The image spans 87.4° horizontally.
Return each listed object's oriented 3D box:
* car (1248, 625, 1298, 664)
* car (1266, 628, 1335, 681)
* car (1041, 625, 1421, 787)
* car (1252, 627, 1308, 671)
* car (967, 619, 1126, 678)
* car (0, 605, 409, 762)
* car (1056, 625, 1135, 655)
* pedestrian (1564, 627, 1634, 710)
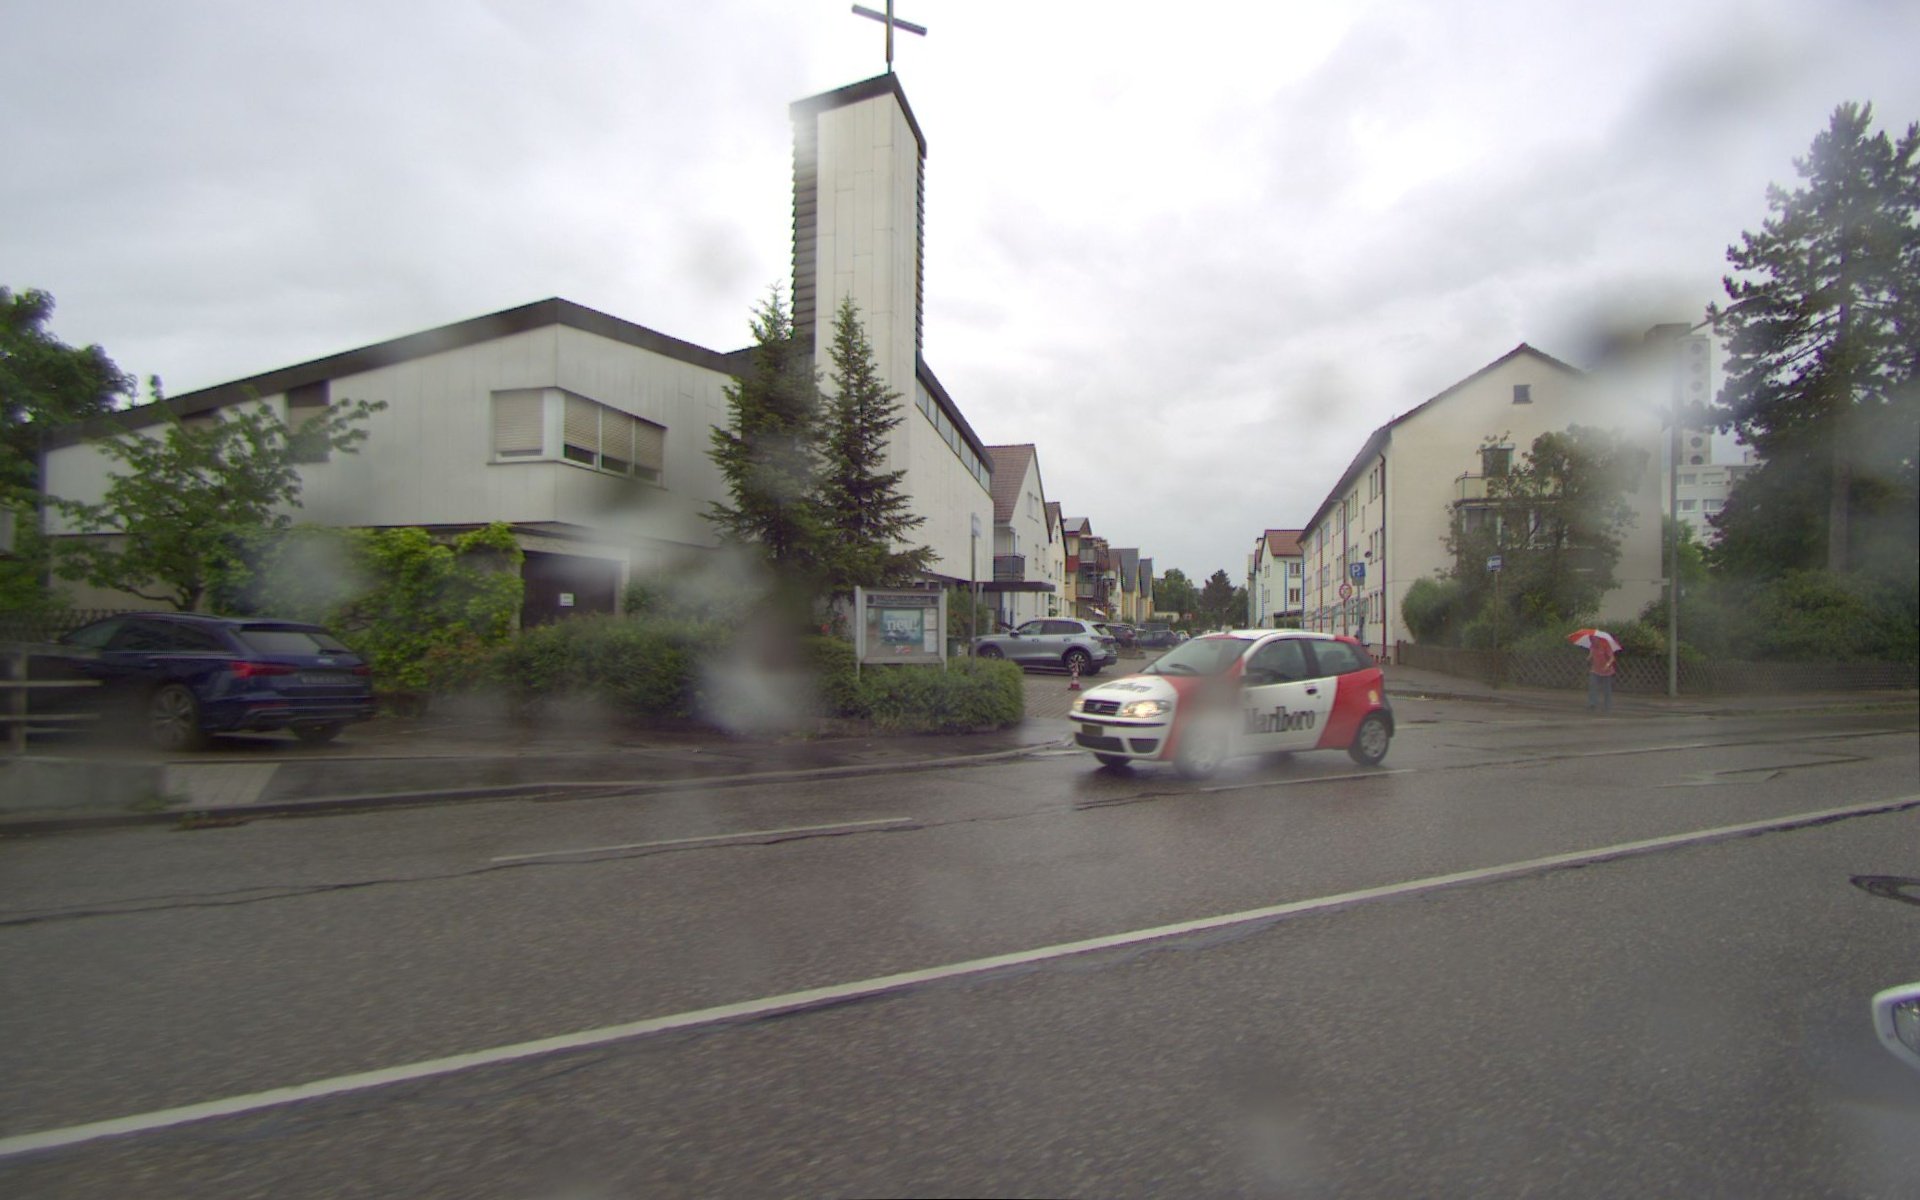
[{"bbox_3d":[12.622,1.757,40.659,1.751,1.466,3.824,0,-1,15],"label":"car"},{"bbox_3d":[10.339,1.612,30.753,1.751,1.466,4.004,0,-1,15],"label":"car"},{"bbox_3d":[2.996,1.048,10.934,3.953,1.427,1.690,0,-4,-31],"label":"car"},{"bbox_3d":[11.459,1.712,36.187,1.751,1.466,3.824,0,-1,15],"label":"car"},{"bbox_3d":[2.605,1.402,30.068,4.301,1.636,2.132,0,-1,21],"label":"car"},{"bbox_3d":[-8.962,0.860,11.581,4.381,1.566,2.001,0,-1,14],"label":"car"},{"bbox_3d":[7.014,2.055,51.910,3.746,1.466,1.788,0,-1,18],"label":"car"},{"bbox_3d":[13.086,1.387,20.559,1.092,1.628,0.863,2,-2,-35],"label":"pedestrian"}]
